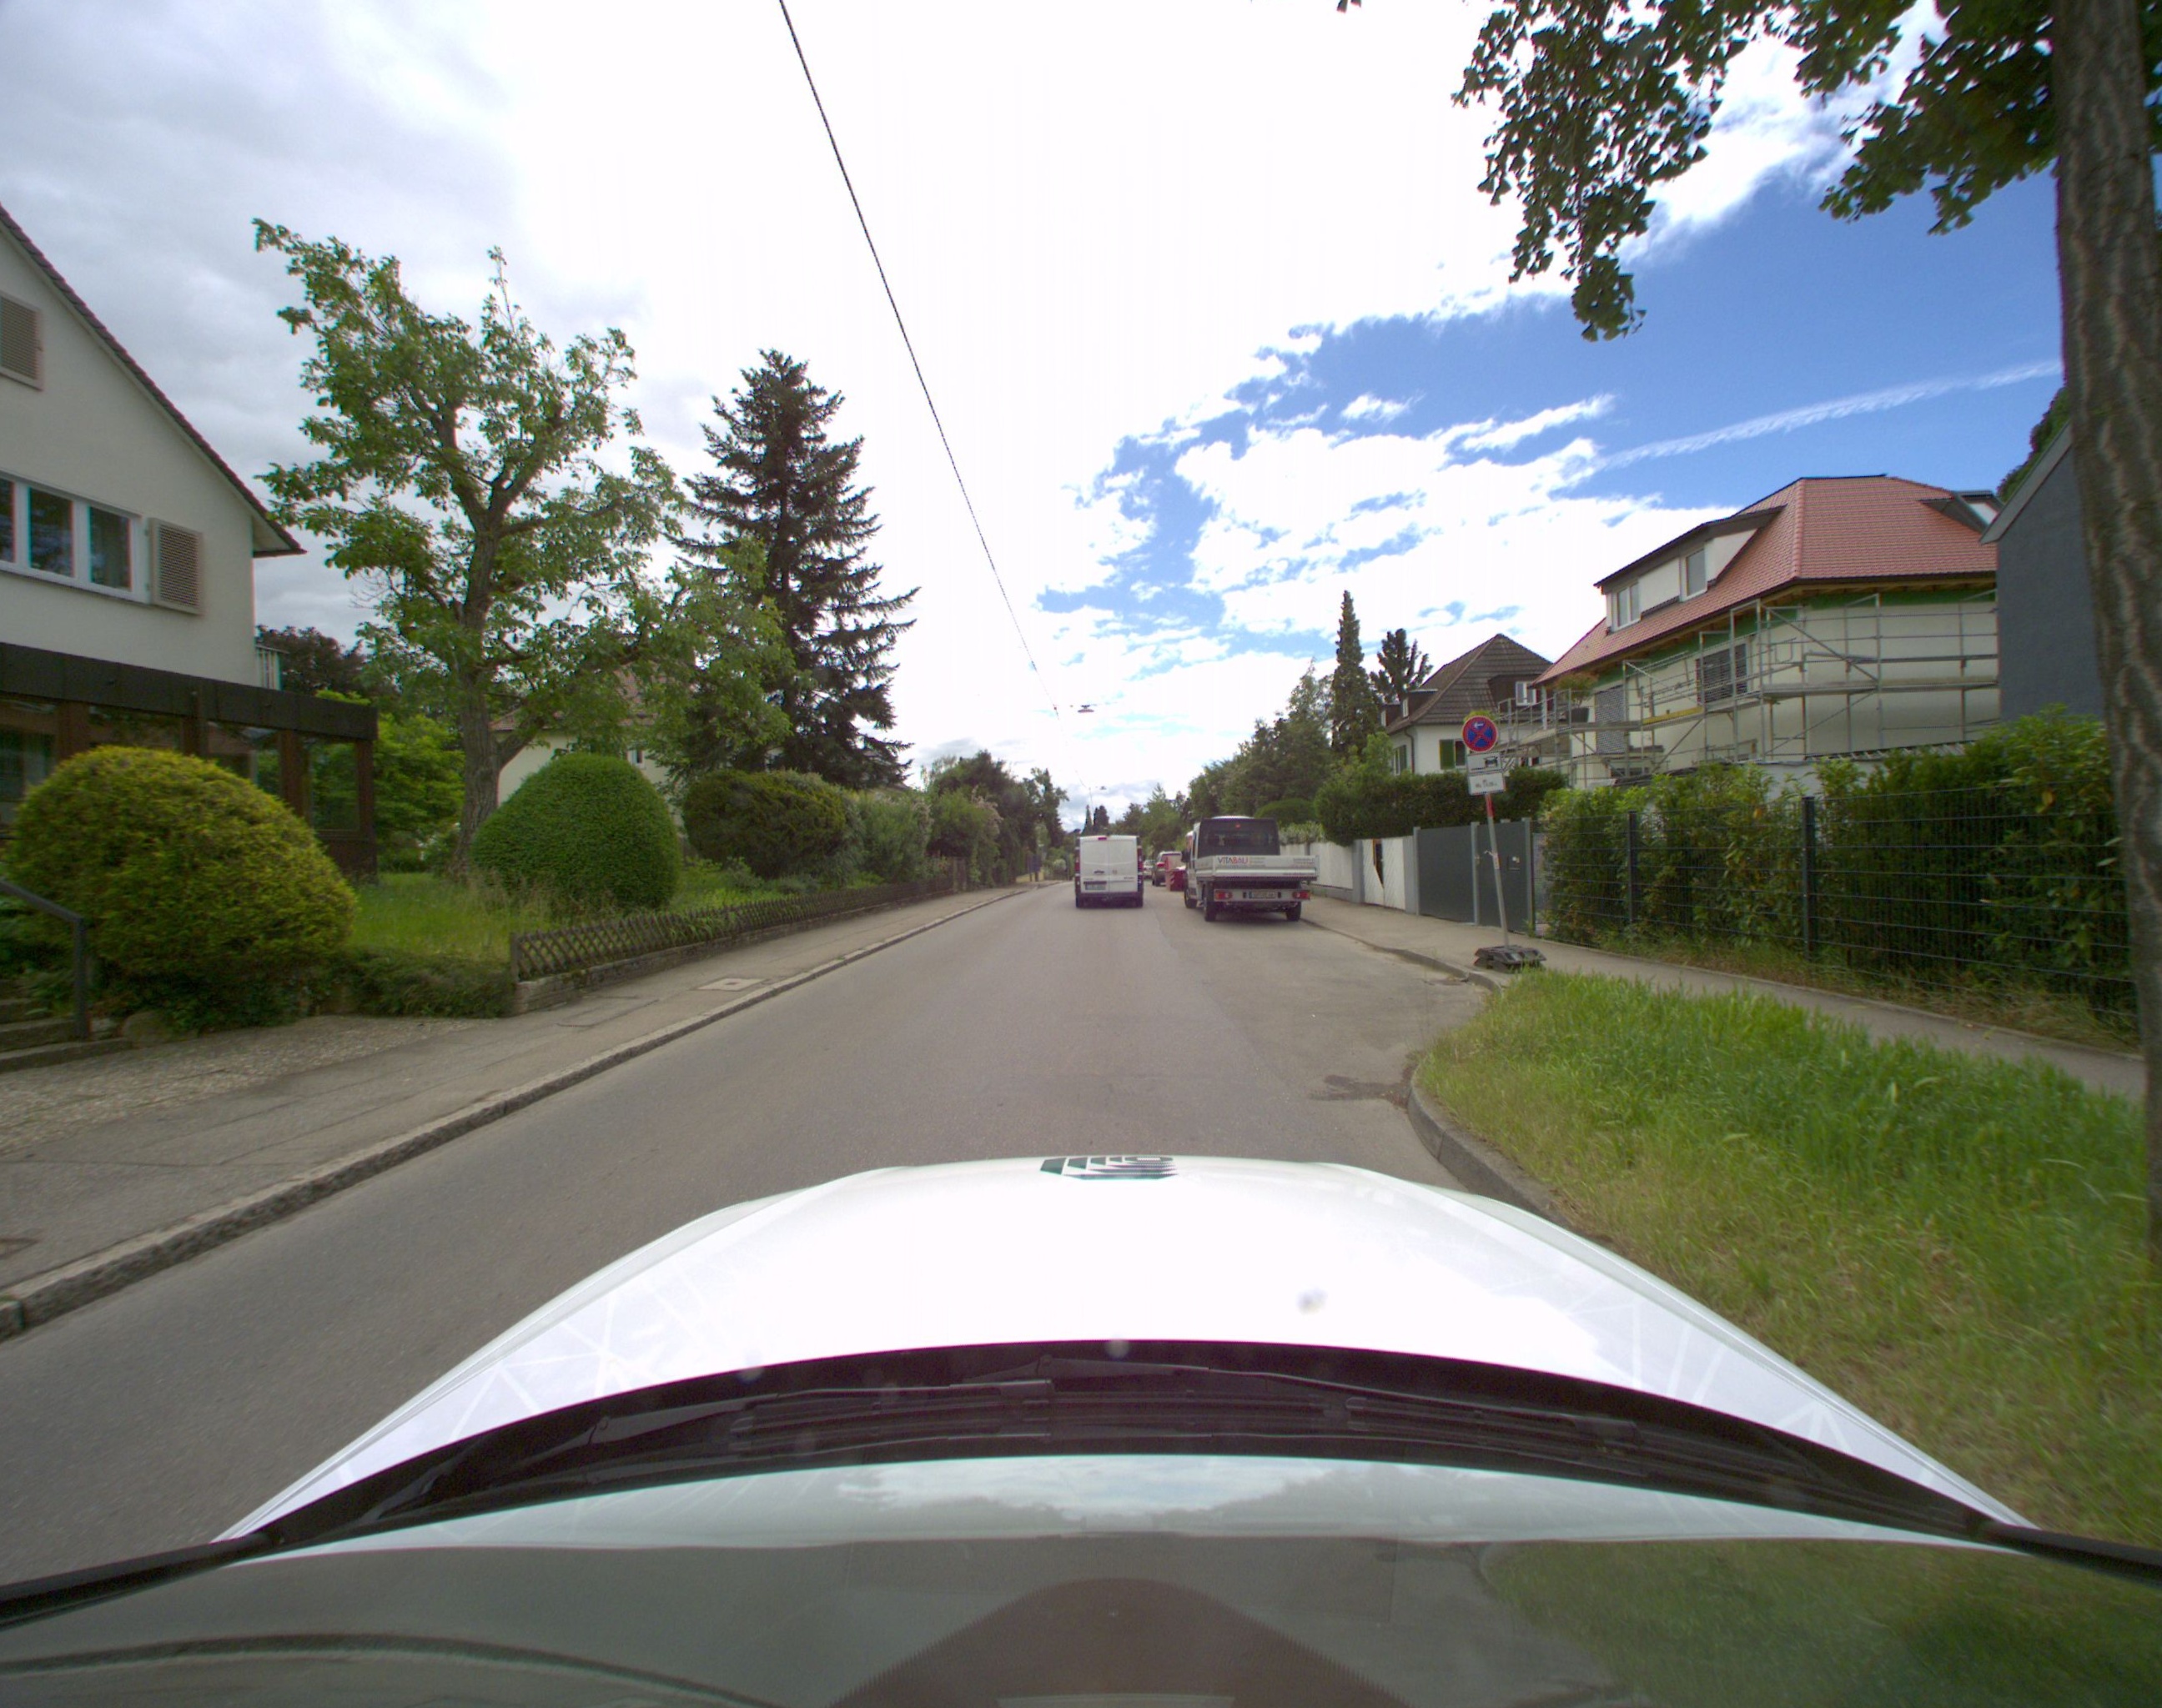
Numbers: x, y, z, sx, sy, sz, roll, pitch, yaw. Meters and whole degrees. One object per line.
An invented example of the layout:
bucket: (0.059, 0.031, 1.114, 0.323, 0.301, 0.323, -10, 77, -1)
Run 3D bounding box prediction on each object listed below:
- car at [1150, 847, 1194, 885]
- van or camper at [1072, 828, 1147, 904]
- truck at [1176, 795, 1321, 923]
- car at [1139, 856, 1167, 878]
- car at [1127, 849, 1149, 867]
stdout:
car: (4.403, 0.583, 40.042, 1.738, 1.675, 4.186, -2, -1, 1)
van or camper: (0.805, 0.376, 23.550, 1.932, 1.954, 4.766, -1, -1, 1)
truck: (3.660, 0.112, 19.461, 2.179, 2.472, 7.434, 0, 0, 2)
car: (5.148, 0.904, 58.579, 1.738, 1.447, 4.260, -2, -1, 1)
car: (5.247, 0.391, 75.376, 1.738, 1.629, 4.260, -2, -1, 1)
